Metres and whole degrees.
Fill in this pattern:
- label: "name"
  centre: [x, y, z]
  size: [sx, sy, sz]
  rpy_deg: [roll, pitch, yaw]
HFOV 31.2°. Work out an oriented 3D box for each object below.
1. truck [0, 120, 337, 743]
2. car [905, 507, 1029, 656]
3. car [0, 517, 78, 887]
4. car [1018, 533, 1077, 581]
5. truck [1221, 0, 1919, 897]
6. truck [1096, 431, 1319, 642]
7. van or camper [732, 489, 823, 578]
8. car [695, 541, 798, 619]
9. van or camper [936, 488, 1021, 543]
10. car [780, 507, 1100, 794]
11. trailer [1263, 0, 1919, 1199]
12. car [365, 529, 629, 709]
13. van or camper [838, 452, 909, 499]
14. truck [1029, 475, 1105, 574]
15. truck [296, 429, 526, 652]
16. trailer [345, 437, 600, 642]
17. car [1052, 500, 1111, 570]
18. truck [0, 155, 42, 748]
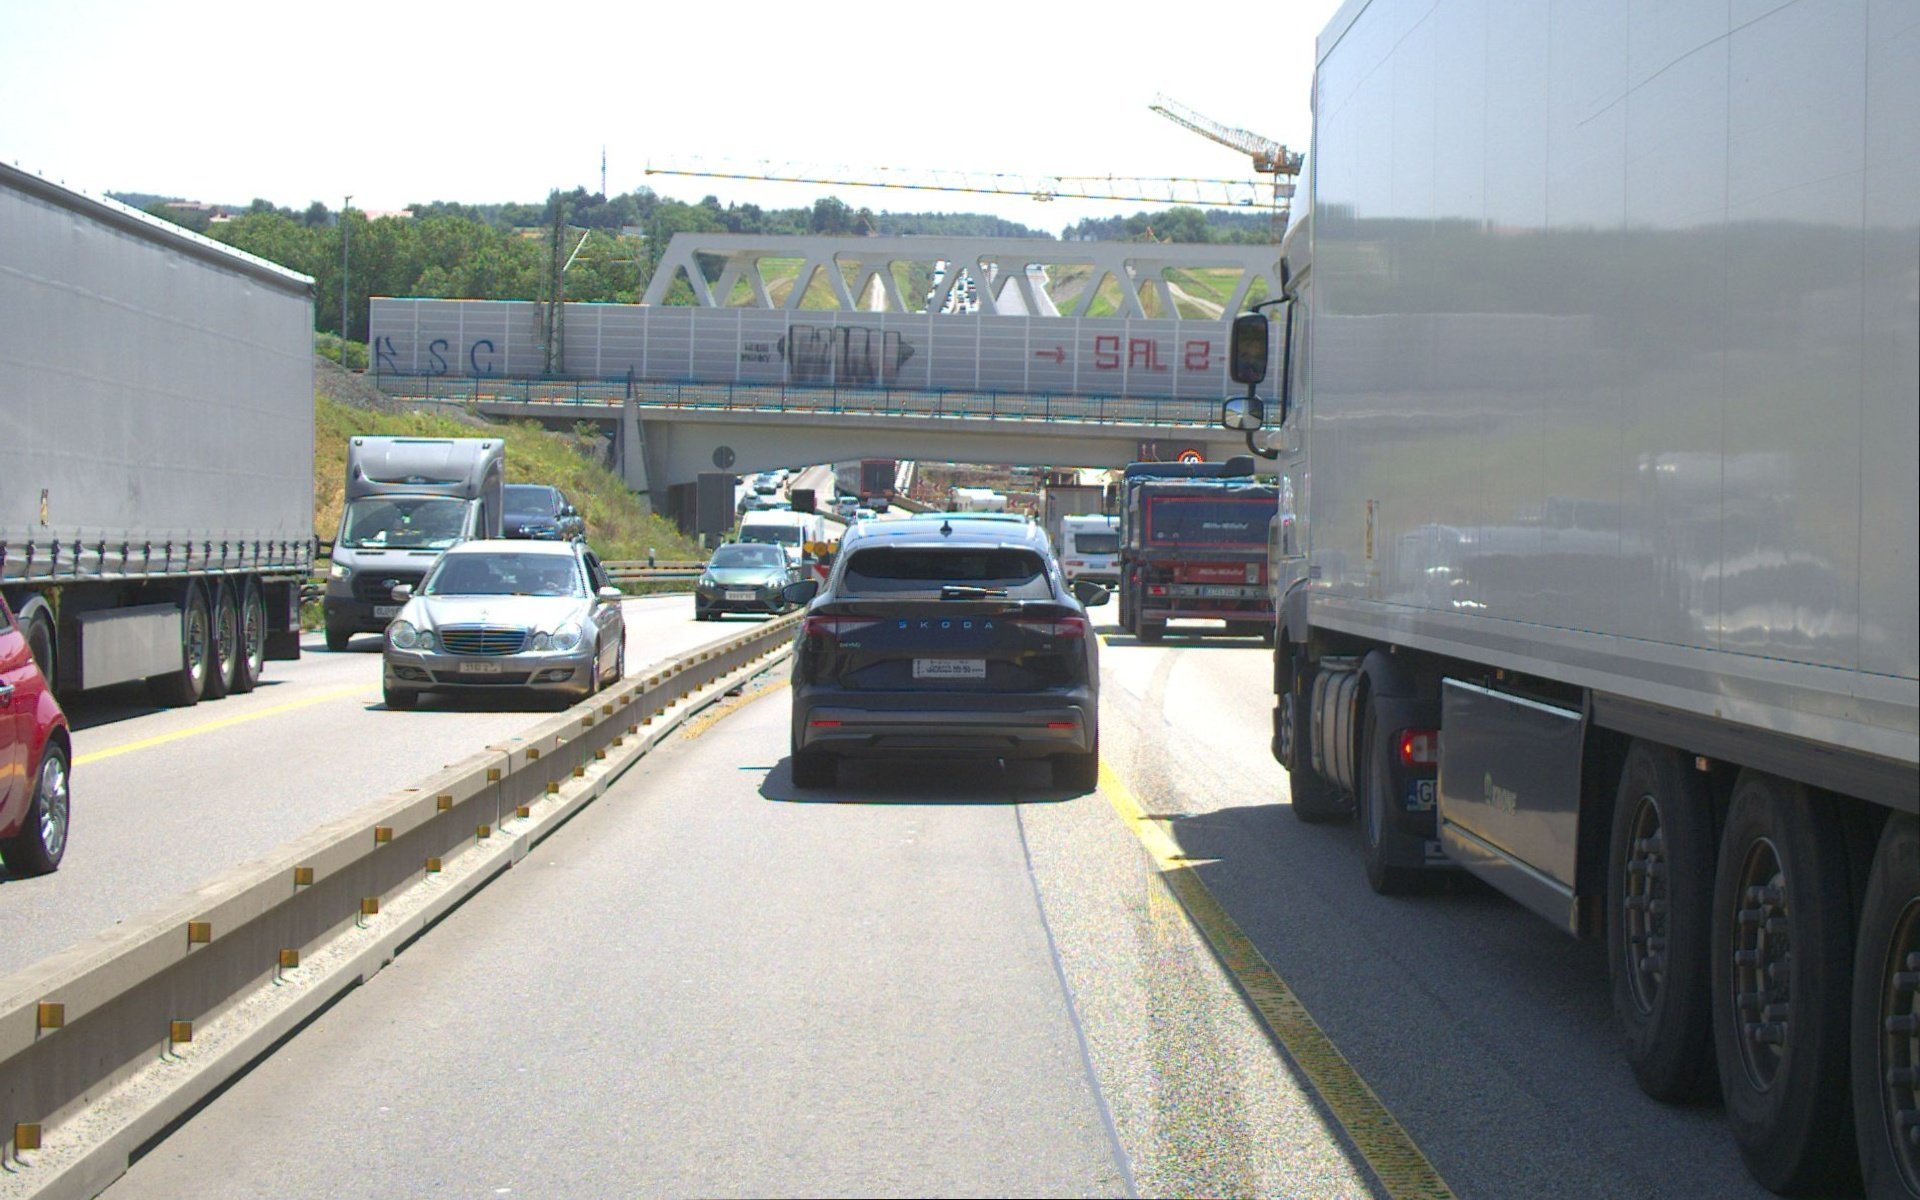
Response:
- label: "truck"
  centre: [-7.733, -1.235, 28.303]
  size: [2.767, 4.073, 13.807]
  rpy_deg: [1, 1, -1]
- label: "car"
  centre: [0.116, -0.268, 43.915]
  size: [1.475, 1.789, 3.298]
  rpy_deg: [2, 1, 1]
- label: "car"
  centre: [-4.628, 0.411, 13.336]
  size: [1.590, 1.481, 3.295]
  rpy_deg: [1, 1, -1]
- label: "car"
  centre: [2.535, -1.253, 99.909]
  size: [1.491, 1.326, 3.244]
  rpy_deg: [2, 1, -2]
- label: "truck"
  centre: [2.918, -0.807, 17.203]
  size: [2.776, 4.044, 4.905]
  rpy_deg: [1, 1, 0]
- label: "truck"
  centre: [3.957, -1.084, 57.890]
  size: [2.814, 3.124, 12.838]
  rpy_deg: [1, 1, 0]
- label: "van or camper"
  centre: [-5.222, -1.902, 99.107]
  size: [2.216, 2.472, 4.750]
  rpy_deg: [1, 1, 1]
- label: "car"
  centre: [-4.041, -0.407, 65.432]
  size: [1.666, 1.423, 4.000]
  rpy_deg: [0, 1, 1]
- label: "van or camper"
  centre: [1.160, -5.573, 225.233]
  size: [3.942, 3.408, 8.409]
  rpy_deg: [1, 2, -11]
- label: "car"
  centre: [-0.128, 0.260, 20.993]
  size: [1.800, 1.615, 3.298]
  rpy_deg: [0, 1, -1]
- label: "trailer"
  centre: [3.002, -0.669, 10.395]
  size: [2.801, 4.044, 14.118]
  rpy_deg: [1, 1, 0]
- label: "car"
  centre: [-4.052, 0.115, 30.703]
  size: [1.826, 1.481, 4.196]
  rpy_deg: [1, 1, -1]
- label: "van or camper"
  centre: [-6.584, -9.424, 260.111]
  size: [3.942, 3.408, 8.409]
  rpy_deg: [1, 2, -11]
- label: "truck"
  centre: [4.803, -3.426, 156.229]
  size: [3.176, 4.303, 9.258]
  rpy_deg: [1, 1, 0]
- label: "truck"
  centre: [-7.518, -0.831, 47.695]
  size: [2.268, 2.872, 5.851]
  rpy_deg: [1, 1, 0]
- label: "trailer"
  centre: [-7.566, -0.974, 55.065]
  size: [2.268, 2.872, 13.043]
  rpy_deg: [1, 1, 0]
- label: "car"
  centre: [4.083, -2.204, 115.868]
  size: [1.661, 2.262, 3.797]
  rpy_deg: [2, 1, -2]
- label: "truck"
  centre: [-7.646, -0.953, 20.948]
  size: [2.767, 3.871, 4.964]
  rpy_deg: [1, 1, -1]
